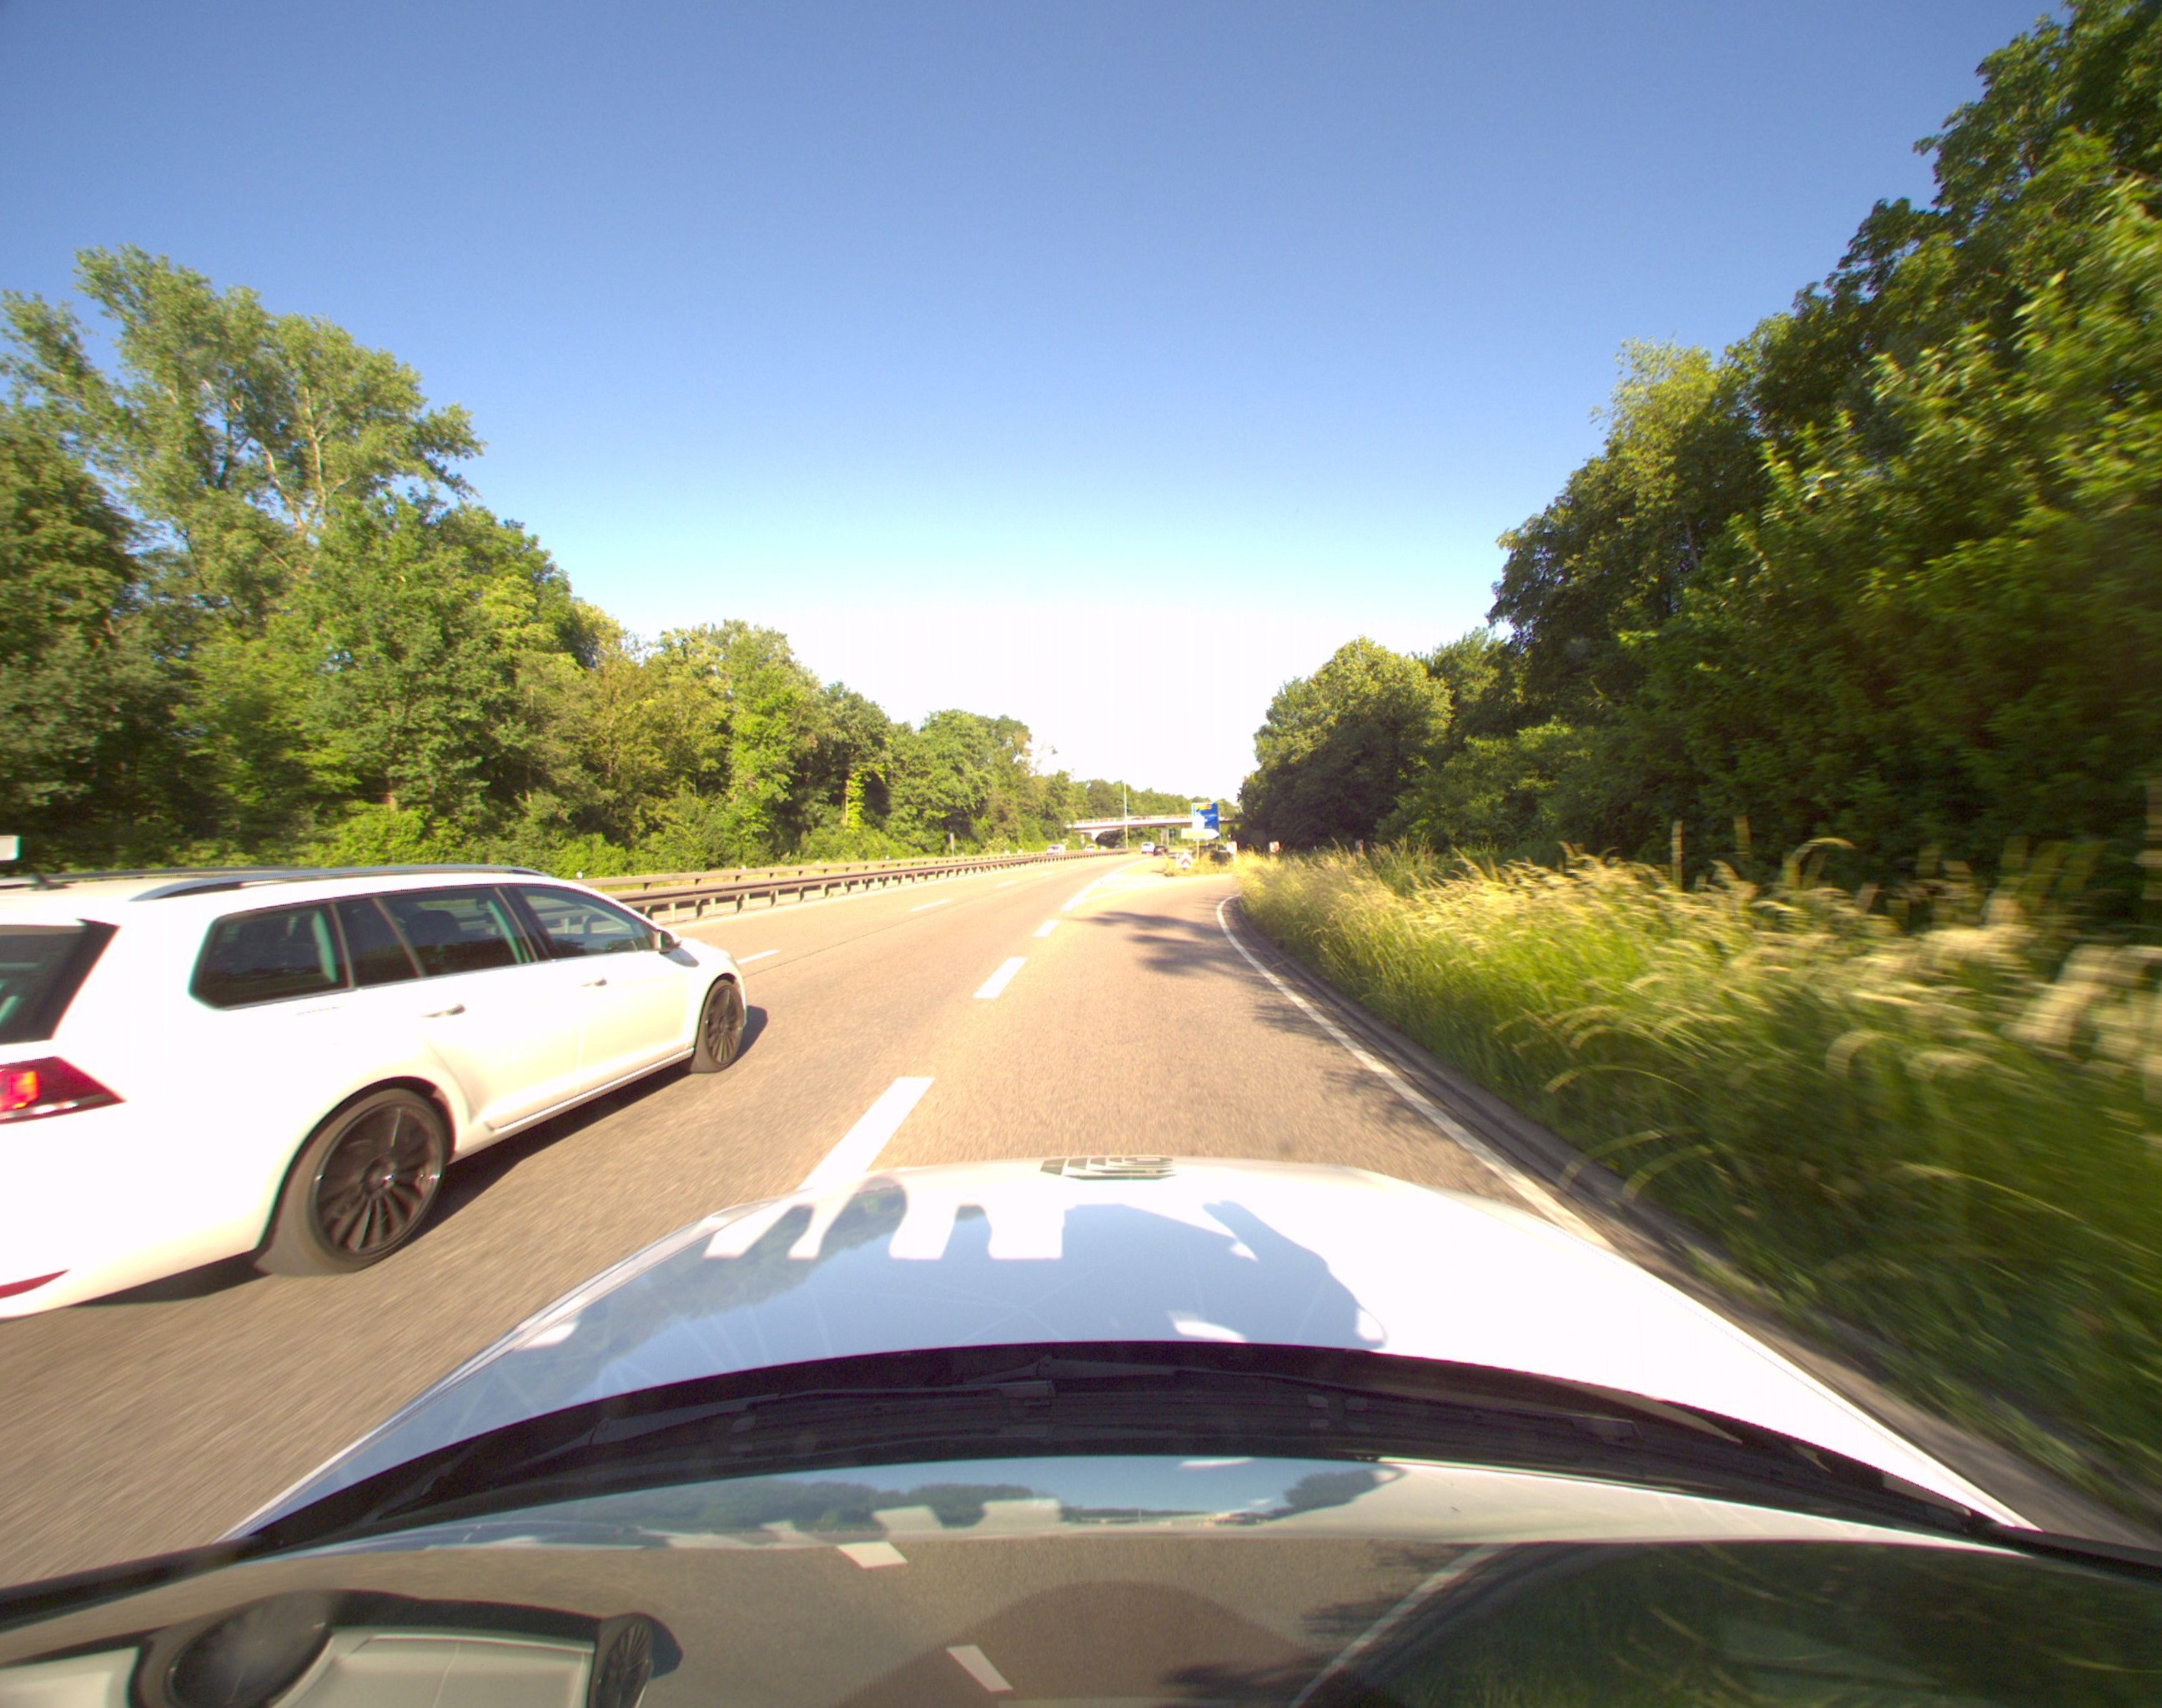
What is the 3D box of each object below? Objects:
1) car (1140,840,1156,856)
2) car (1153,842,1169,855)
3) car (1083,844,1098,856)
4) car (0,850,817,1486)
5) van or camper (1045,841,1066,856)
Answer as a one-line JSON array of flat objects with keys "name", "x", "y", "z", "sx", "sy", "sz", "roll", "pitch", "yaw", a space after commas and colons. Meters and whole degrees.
[{"name": "car", "x": 10.272, "y": -0.934, "z": 125.332, "sx": 1.981, "sy": 2.277, "sz": 4.012, "roll": -2, "pitch": 0, "yaw": 11}, {"name": "car", "x": 10.785, "y": -0.688, "z": 109.760, "sx": 1.728, "sy": 1.662, "sz": 3.958, "roll": -2, "pitch": 0, "yaw": 11}, {"name": "car", "x": 1.646, "y": -0.712, "z": 140.113, "sx": 1.981, "sy": 2.013, "sz": 4.012, "roll": -2, "pitch": 0, "yaw": 10}, {"name": "car", "x": -3.441, "y": 0.748, "z": 4.472, "sx": 1.922, "sy": 1.508, "sz": 5.603, "roll": -1, "pitch": 0, "yaw": 2}, {"name": "van or camper", "x": -3.625, "y": -0.816, "z": 117.458, "sx": 2.061, "sy": 2.013, "sz": 4.831, "roll": -2, "pitch": 0, "yaw": 9}]
